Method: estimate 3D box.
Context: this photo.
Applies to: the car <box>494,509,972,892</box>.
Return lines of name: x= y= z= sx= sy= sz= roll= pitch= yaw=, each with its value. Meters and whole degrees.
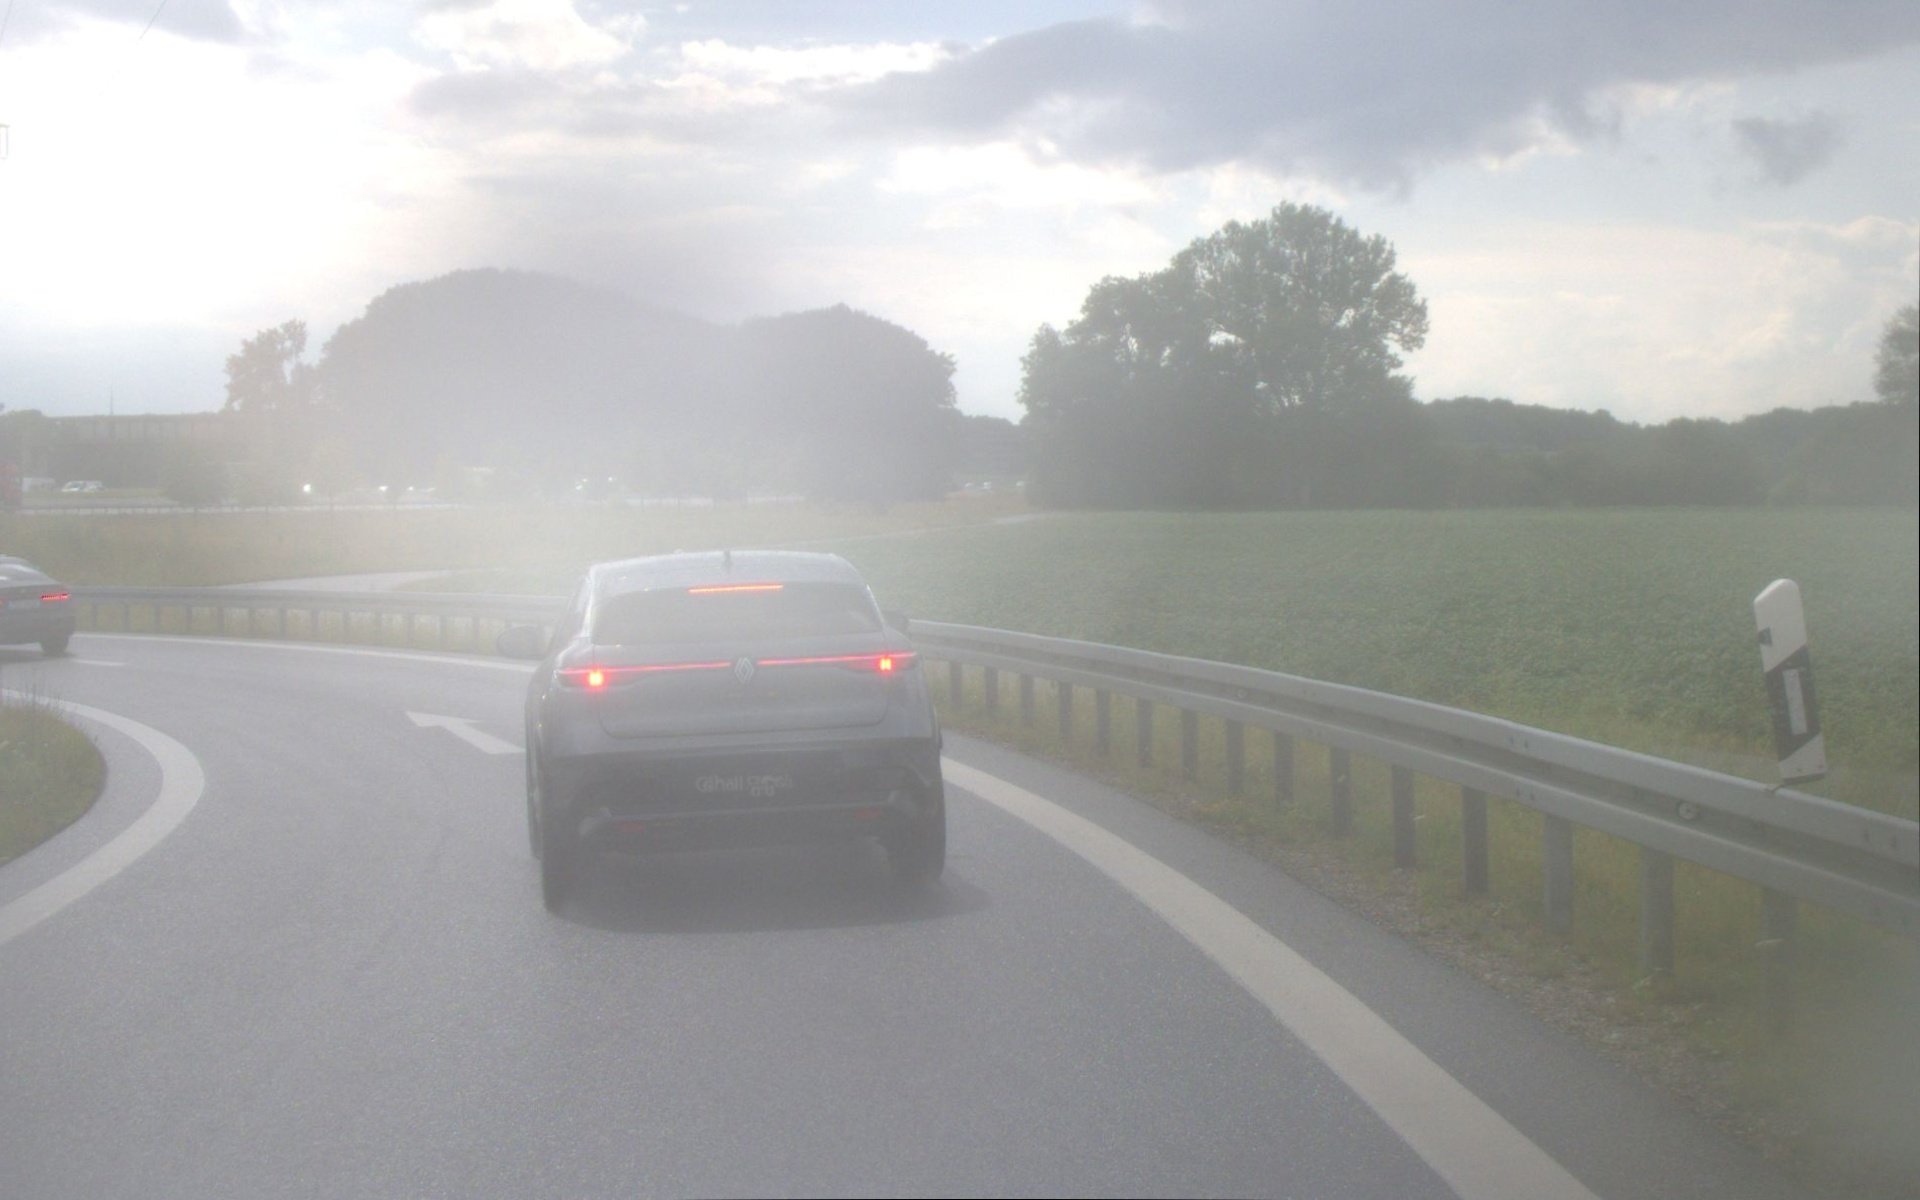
car: x=-1.206 y=0.367 z=16.667 sx=1.993 sy=1.561 sz=4.150 roll=-1 pitch=2 yaw=-7

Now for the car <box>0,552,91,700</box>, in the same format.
car: x=-15.400 y=0.331 z=52.786 sx=2.121 sy=2.011 sz=5.534 roll=-2 pitch=4 yaw=-35
